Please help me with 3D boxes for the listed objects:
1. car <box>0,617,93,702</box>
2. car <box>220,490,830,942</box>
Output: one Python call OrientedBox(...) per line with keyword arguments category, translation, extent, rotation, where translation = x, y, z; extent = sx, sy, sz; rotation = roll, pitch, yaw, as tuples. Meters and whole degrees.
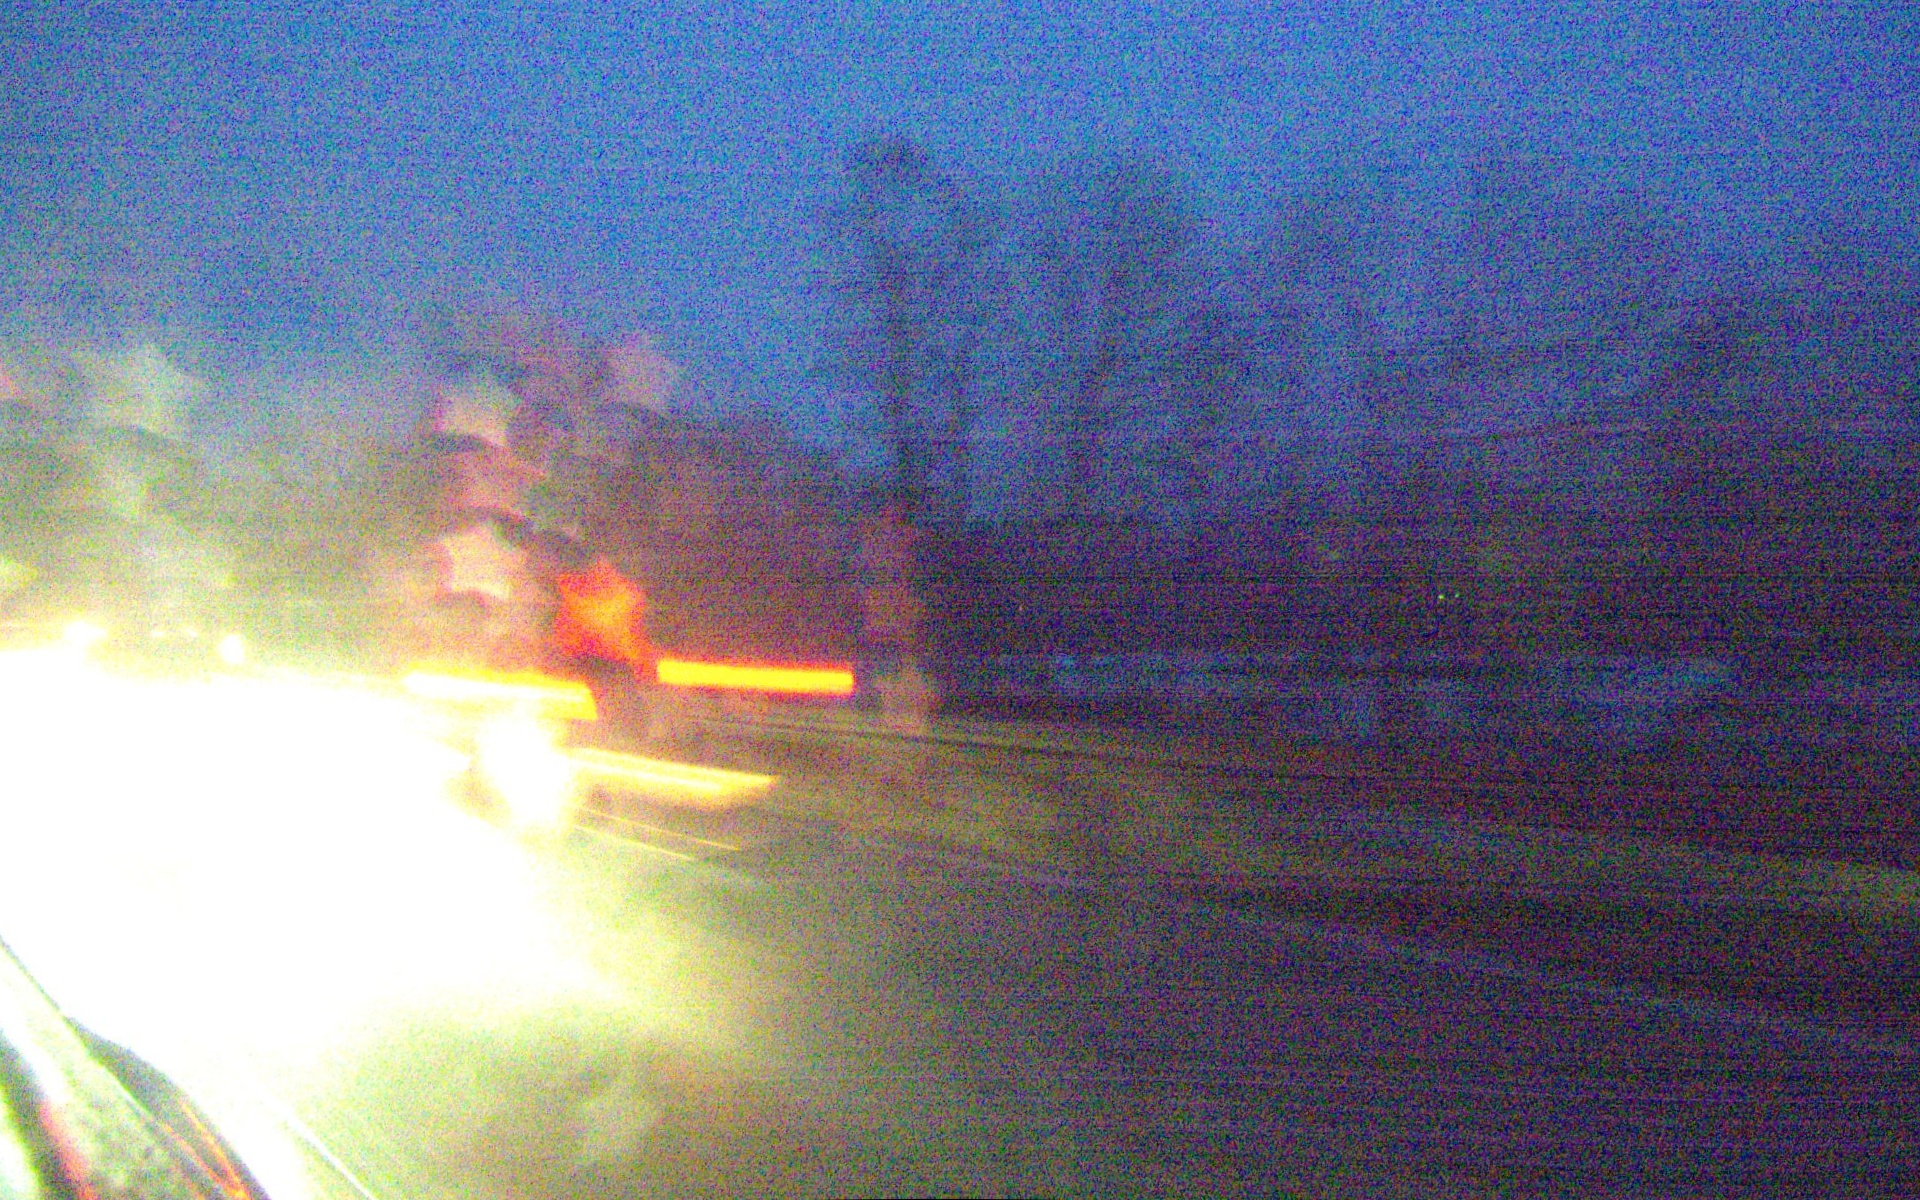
OrientedBox(category="car", translation=(-18.828, 1.120, 20.197), extent=(3.708, 1.516, 1.824), rotation=(0, 0, 42))
OrientedBox(category="car", translation=(-2.831, 0.582, 6.177), extent=(3.997, 1.858, 1.817), rotation=(-3, -4, 40))
